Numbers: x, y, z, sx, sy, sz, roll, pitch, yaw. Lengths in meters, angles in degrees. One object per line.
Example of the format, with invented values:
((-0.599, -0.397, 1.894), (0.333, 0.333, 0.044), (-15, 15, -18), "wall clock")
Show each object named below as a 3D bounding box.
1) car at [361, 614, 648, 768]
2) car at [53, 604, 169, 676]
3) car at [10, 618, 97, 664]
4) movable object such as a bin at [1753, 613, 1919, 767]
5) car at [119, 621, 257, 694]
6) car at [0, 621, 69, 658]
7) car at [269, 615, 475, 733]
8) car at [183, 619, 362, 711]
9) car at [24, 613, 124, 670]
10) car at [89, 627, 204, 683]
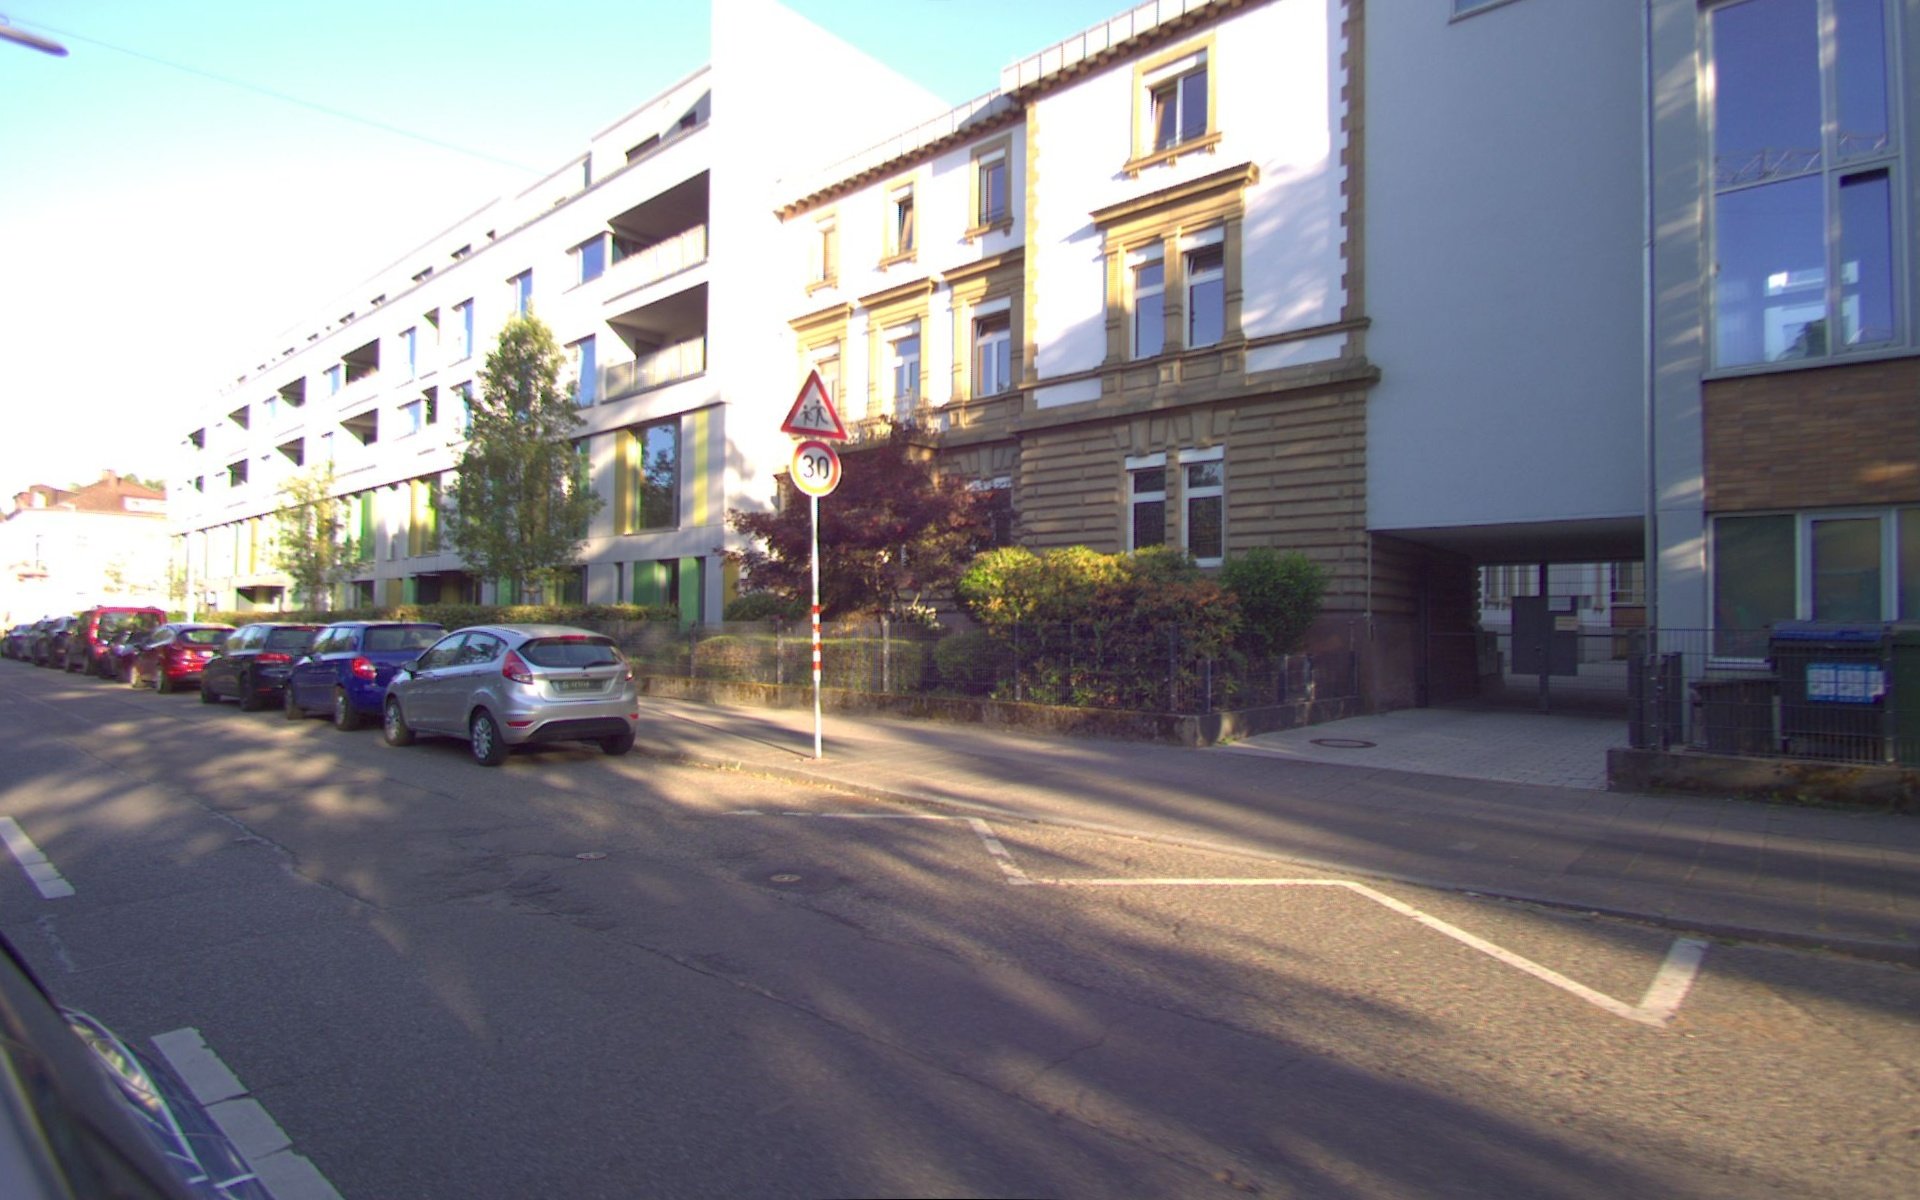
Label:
((-5.377, 0.970, 11.750), (3.770, 1.505, 1.584), (-2, -4, 41), "car")
((-24.036, 1.135, 28.599), (4.235, 1.904, 1.789), (-2, -4, 41), "car")
((-32.296, 1.429, 36.023), (4.112, 1.545, 1.724), (-2, -2, 40), "car")
((9.030, 0.856, 10.185), (1.519, 1.441, 1.086), (-2, -2, 45), "movable object such as a bin")
((-16.891, 1.201, 22.086), (3.859, 1.466, 1.582), (-1, -3, 41), "car")
((-35.790, 1.501, 38.927), (4.395, 1.367, 1.723), (-1, -3, 42), "car")
((-8.727, 1.037, 14.902), (3.787, 1.519, 1.581), (-2, -4, 44), "car")
((-12.274, 1.115, 17.986), (4.052, 1.466, 1.582), (-2, -4, 41), "car")
((-28.136, 1.335, 32.096), (4.413, 1.689, 1.724), (-2, -4, 41), "car")
((-20.233, 1.349, 25.124), (3.730, 1.290, 1.540), (-2, -4, 41), "car")
